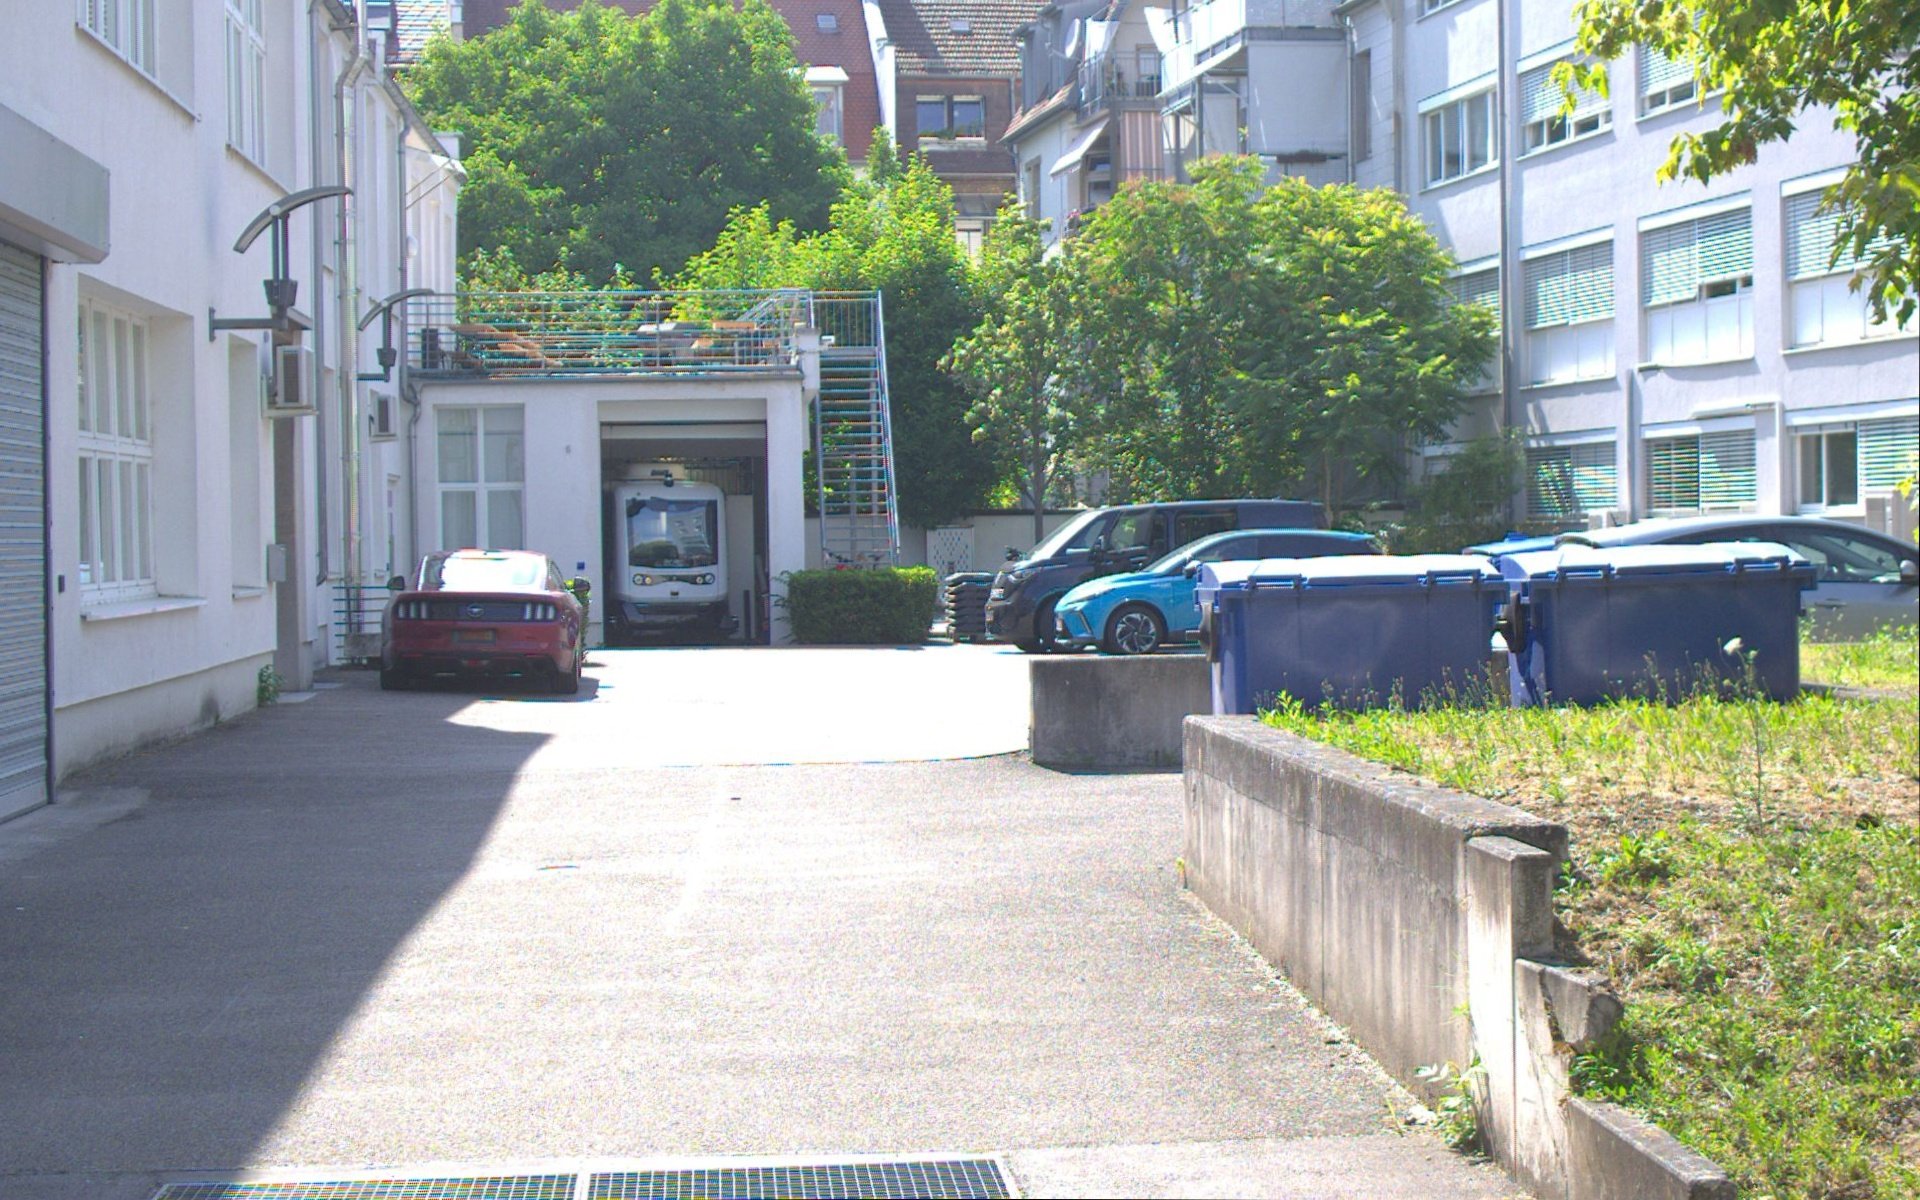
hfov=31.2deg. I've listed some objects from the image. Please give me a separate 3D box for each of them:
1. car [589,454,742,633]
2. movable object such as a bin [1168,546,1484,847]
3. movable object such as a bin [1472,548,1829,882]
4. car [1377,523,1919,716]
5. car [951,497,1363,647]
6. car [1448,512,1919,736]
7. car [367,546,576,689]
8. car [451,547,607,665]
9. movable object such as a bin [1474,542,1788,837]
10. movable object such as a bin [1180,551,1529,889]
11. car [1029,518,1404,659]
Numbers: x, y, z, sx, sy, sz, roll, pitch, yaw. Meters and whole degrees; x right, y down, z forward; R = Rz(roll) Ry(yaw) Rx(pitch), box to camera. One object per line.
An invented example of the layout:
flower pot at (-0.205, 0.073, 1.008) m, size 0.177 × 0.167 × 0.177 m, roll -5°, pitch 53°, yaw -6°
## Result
car at (-4.597, -0.874, 54.437) m, size 2.174 × 2.598 × 6.735 m, roll -2°, pitch 1°, yaw -4°
movable object such as a bin at (1.724, 0.433, 16.390) m, size 1.247 × 1.350 × 1.129 m, roll -1°, pitch 1°, yaw -7°
movable object such as a bin at (2.922, 0.463, 14.688) m, size 1.247 × 1.336 × 1.142 m, roll -1°, pitch 1°, yaw -1°
car at (5.502, 0.130, 27.637) m, size 3.986 × 1.389 × 1.689 m, roll -2°, pitch 1°, yaw -4°
car at (2.580, -0.403, 45.317) m, size 4.950 × 1.761 × 2.097 m, roll -2°, pitch 2°, yaw -16°
car at (5.629, 0.125, 24.180) m, size 3.986 × 1.422 × 1.812 m, roll -2°, pitch 1°, yaw -7°
car at (-4.846, 0.137, 34.565) m, size 1.851 × 1.315 × 4.001 m, roll 1°, pitch 1°, yaw -5°
car at (-5.170, 0.039, 41.577) m, size 1.614 × 1.291 × 3.759 m, roll -2°, pitch 1°, yaw -4°
movable object such as a bin at (3.193, 0.404, 16.483) m, size 1.155 × 1.332 × 1.142 m, roll -1°, pitch 1°, yaw -7°
movable object such as a bin at (1.647, 0.492, 14.611) m, size 1.247 × 1.315 × 1.142 m, roll -3°, pitch 0°, yaw -2°
car at (3.106, -0.170, 42.096) m, size 4.228 × 1.527 × 2.001 m, roll -2°, pitch 2°, yaw -7°
